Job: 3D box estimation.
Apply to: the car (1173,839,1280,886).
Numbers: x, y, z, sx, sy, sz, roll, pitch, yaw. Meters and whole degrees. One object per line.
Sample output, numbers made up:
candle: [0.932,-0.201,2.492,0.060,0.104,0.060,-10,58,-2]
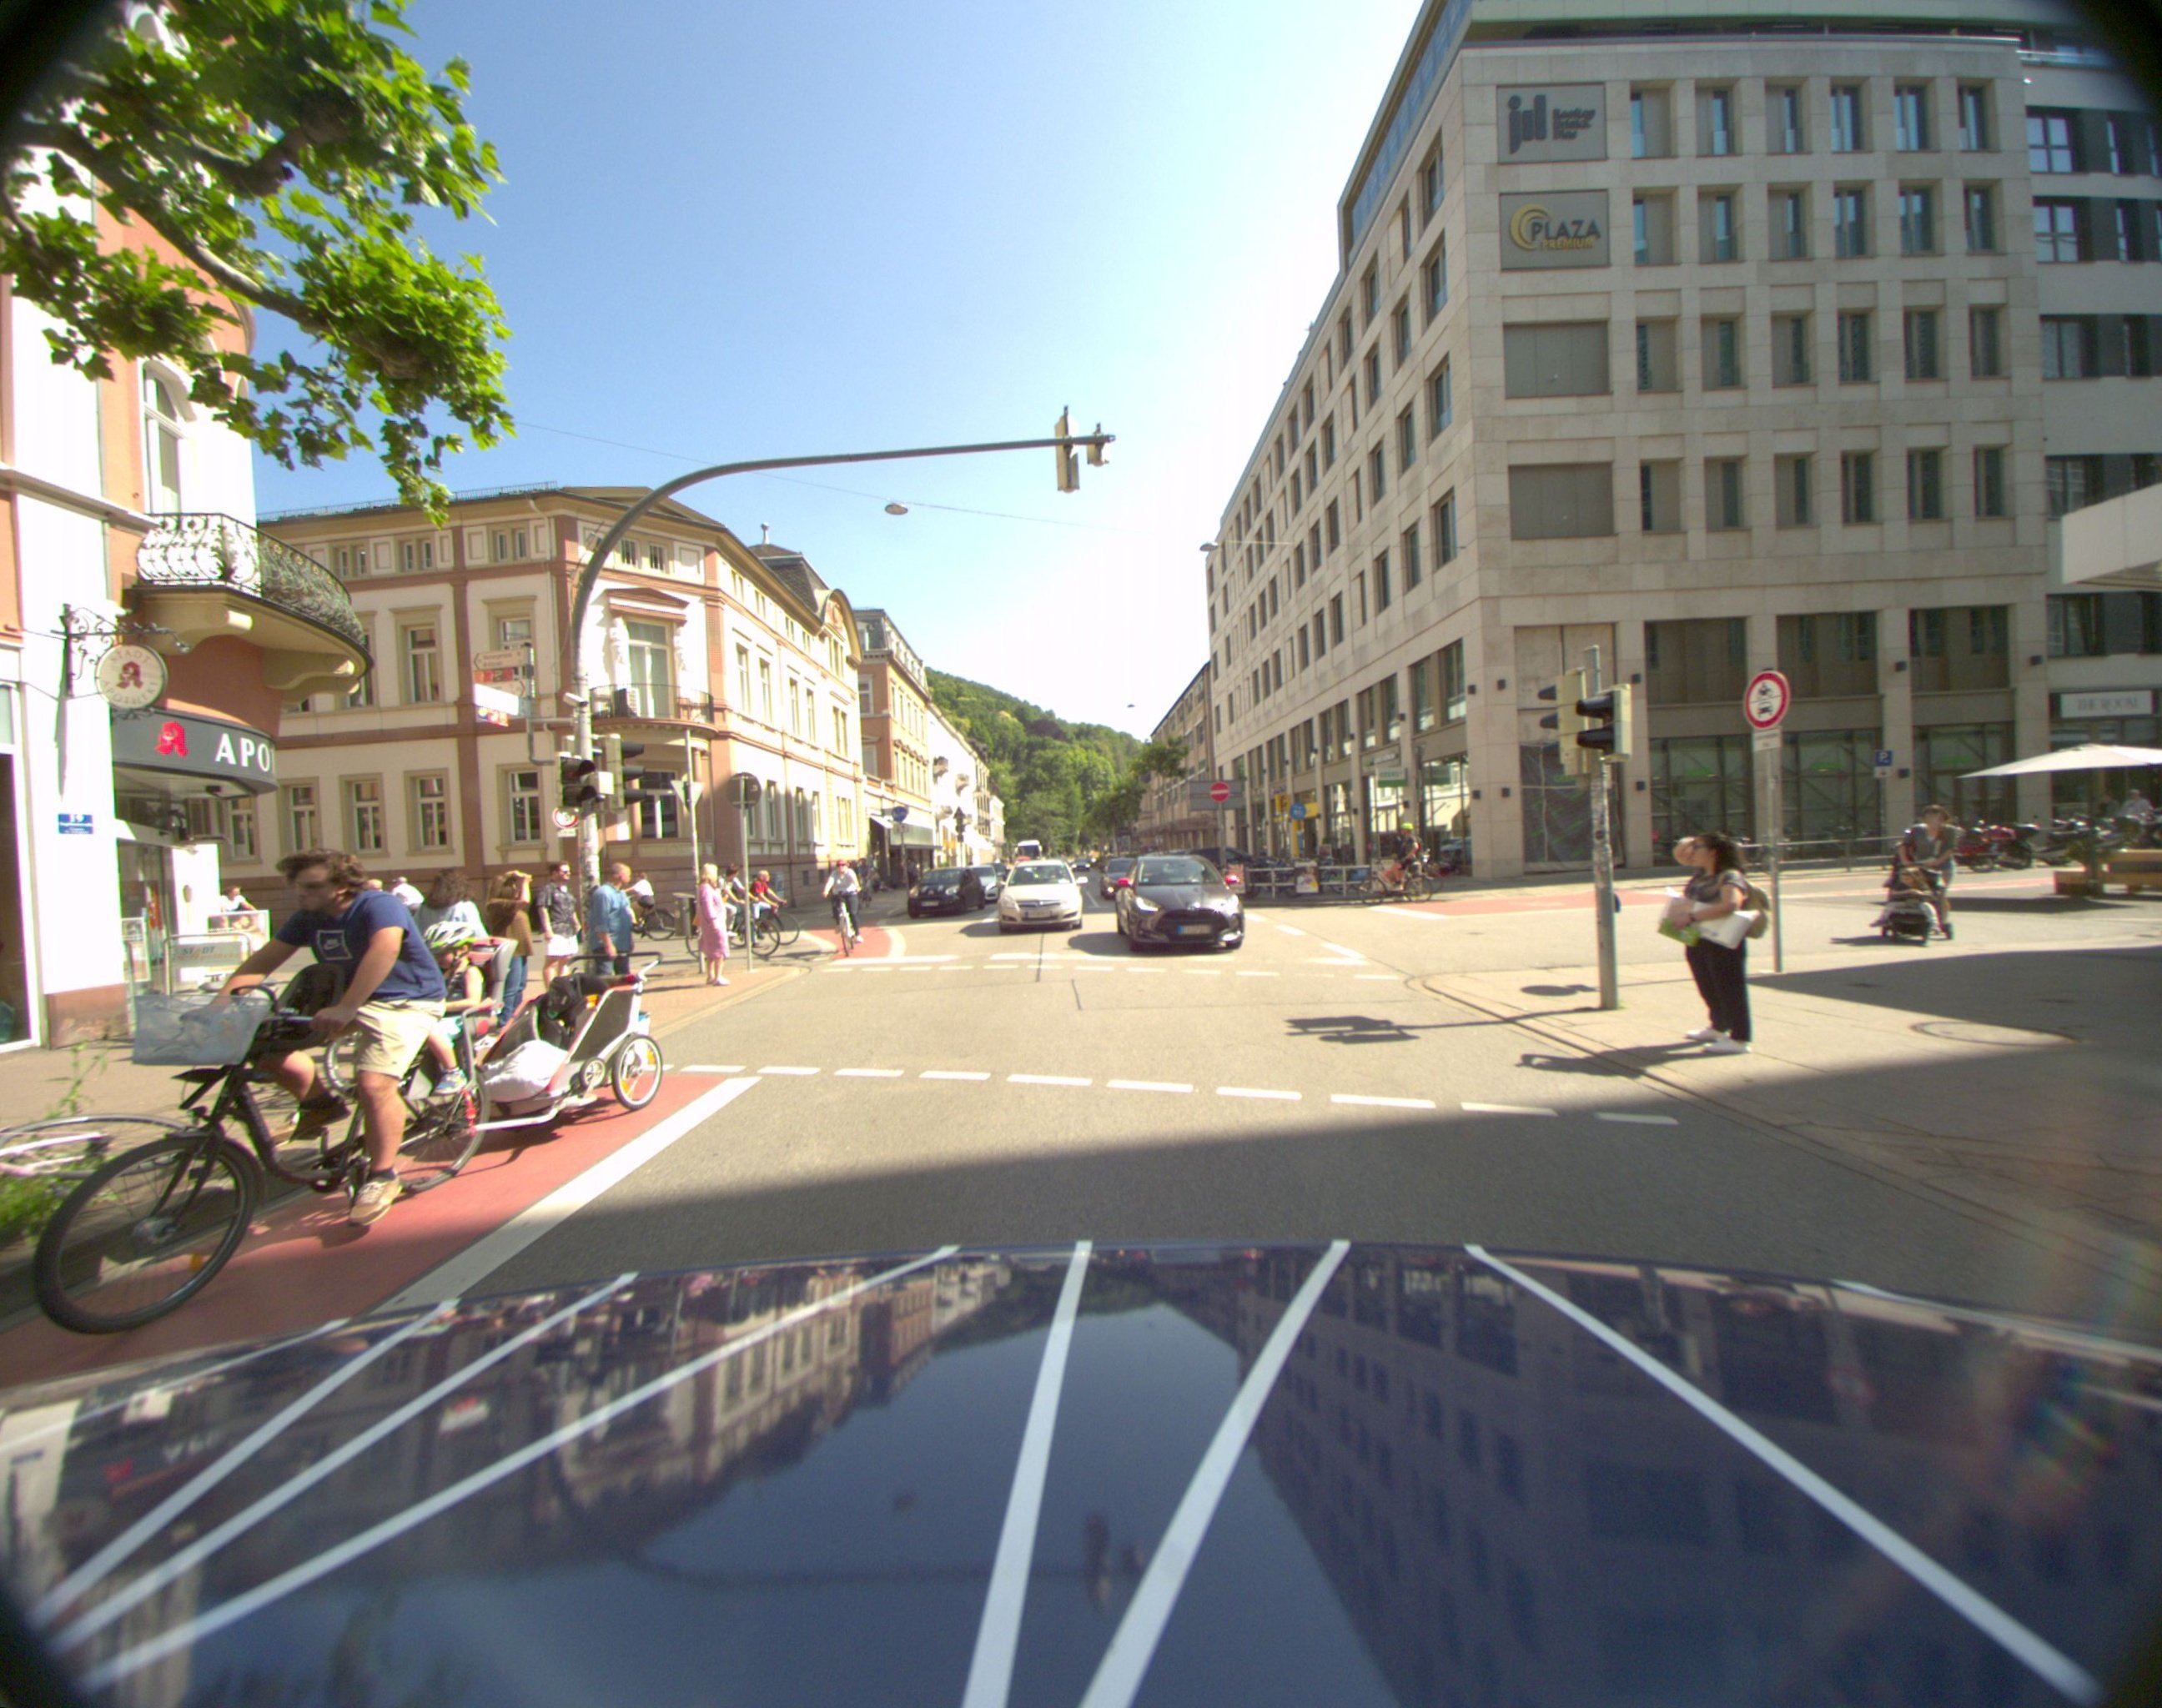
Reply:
car: [6.149,0.357,32.071,4.026,1.593,1.961,-5,2,22]

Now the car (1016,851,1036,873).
car: [-5.527,0.819,76.240,1.703,1.901,4.606,-7,0,-3]

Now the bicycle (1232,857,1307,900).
bicycle: [5.479,0.731,22.181,2.059,1.166,0.606,-3,2,44]

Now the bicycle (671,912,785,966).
bicycle: [-6.536,1.572,14.122,1.826,0.839,0.501,-4,1,0]

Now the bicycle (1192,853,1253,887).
bicycle: [5.339,0.593,28.706,2.146,1.120,0.484,-4,0,-5]

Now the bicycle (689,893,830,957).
bicycle: [-6.622,1.454,15.767,2.572,1.120,0.628,-3,1,-5]

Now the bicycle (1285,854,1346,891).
bicycle: [7.973,0.621,25.861,1.863,1.120,0.485,-5,0,23]

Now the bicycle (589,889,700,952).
bicycle: [-10.430,1.535,18.369,0.750,1.120,3.239,-1,2,0]

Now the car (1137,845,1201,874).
car: [6.048,0.387,52.482,3.997,1.519,1.819,-6,2,-2]

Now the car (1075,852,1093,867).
car: [0.275,0.577,79.325,1.734,1.389,4.106,-3,0,-1]

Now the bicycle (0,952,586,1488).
bicycle: [-3.369,1.207,3.272,0.733,1.261,2.283,-4,-1,6]

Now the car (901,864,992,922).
car: [-4.053,1.134,23.492,1.632,1.470,3.733,-3,0,8]

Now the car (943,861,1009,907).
car: [-3.956,1.100,29.414,1.957,1.417,4.885,-5,0,-2]

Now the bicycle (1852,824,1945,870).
bicycle: [21.990,-0.190,20.450,2.063,1.121,0.454,-3,5,-3]

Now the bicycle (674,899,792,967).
bicycle: [-6.456,1.463,14.137,1.844,1.120,0.666,-2,2,3]

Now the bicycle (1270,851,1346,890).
bicycle: [7.579,0.562,25.397,2.324,1.120,0.563,-5,1,24]

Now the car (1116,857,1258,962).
car: [1.609,0.825,12.929,1.868,1.469,4.107,-1,-1,1]

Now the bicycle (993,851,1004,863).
bicycle: [-7.960,0.255,73.815,0.743,1.120,2.573,-1,1,0]

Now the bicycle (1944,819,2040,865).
bicycle: [24.638,-0.318,20.561,2.063,1.120,0.455,-3,0,-1]

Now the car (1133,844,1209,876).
car: [5.893,0.385,49.480,4.493,1.424,1.865,-8,0,19]

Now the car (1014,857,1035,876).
car: [-5.211,1.149,70.541,1.799,1.516,4.262,-6,1,-3]

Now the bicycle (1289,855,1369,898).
bicycle: [7.089,0.651,21.742,2.059,1.162,0.606,-2,2,36]

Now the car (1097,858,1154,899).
car: [1.580,0.854,28.311,1.734,1.389,4.105,-1,0,-2]

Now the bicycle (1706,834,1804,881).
bicycle: [18.022,0.084,20.331,2.063,1.121,0.639,-3,4,-1]

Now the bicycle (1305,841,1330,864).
bicycle: [12.047,-0.056,38.752,0.497,1.101,2.161,-5,0,-1]

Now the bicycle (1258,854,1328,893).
bicycle: [6.919,0.642,24.841,2.060,1.120,0.563,-5,0,24]

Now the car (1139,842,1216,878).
car: [5.818,0.378,45.972,4.029,1.584,1.822,-8,1,32]

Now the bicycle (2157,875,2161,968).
bicycle: [6.555,0.743,3.394,0.735,1.260,2.214,-3,0,15]

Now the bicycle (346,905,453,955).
bicycle: [-16.149,1.792,18.024,2.075,1.120,0.573,-1,0,3]

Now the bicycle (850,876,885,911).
bicycle: [-7.666,1.394,27.339,0.748,1.111,1.917,-3,0,-3]

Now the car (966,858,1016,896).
car: [-4.278,1.068,36.681,1.891,1.483,4.288,-5,1,-2]

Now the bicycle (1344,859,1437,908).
bicycle: [7.836,0.748,19.306,1.991,1.120,0.799,-3,0,6]

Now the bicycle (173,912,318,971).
bicycle: [-18.332,1.915,16.682,2.570,1.120,0.773,-3,0,7]

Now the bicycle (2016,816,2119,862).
bicycle: [26.861,-0.408,20.695,2.063,1.103,0.571,-4,0,-1]

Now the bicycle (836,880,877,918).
bicycle: [-7.200,1.422,24.456,0.664,1.111,1.992,-2,0,0]

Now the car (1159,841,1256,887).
car: [5.851,0.451,35.476,4.166,1.627,2.103,-7,1,7]

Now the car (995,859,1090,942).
car: [-0.876,0.927,17.058,1.791,1.484,4.366,-3,0,-3]

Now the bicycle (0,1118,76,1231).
bicycle: [-5.312,1.659,2.849,1.855,0.396,1.014,-11,36,3]

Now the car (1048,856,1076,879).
car: [-1.280,0.893,50.794,1.775,1.469,4.106,-1,-1,-1]

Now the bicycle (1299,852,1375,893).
bicycle: [7.715,0.567,22.894,2.059,1.120,0.648,-3,0,25]

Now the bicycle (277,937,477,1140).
bicycle: [-5.205,1.266,5.576,1.852,1.181,0.718,-7,-2,37]
